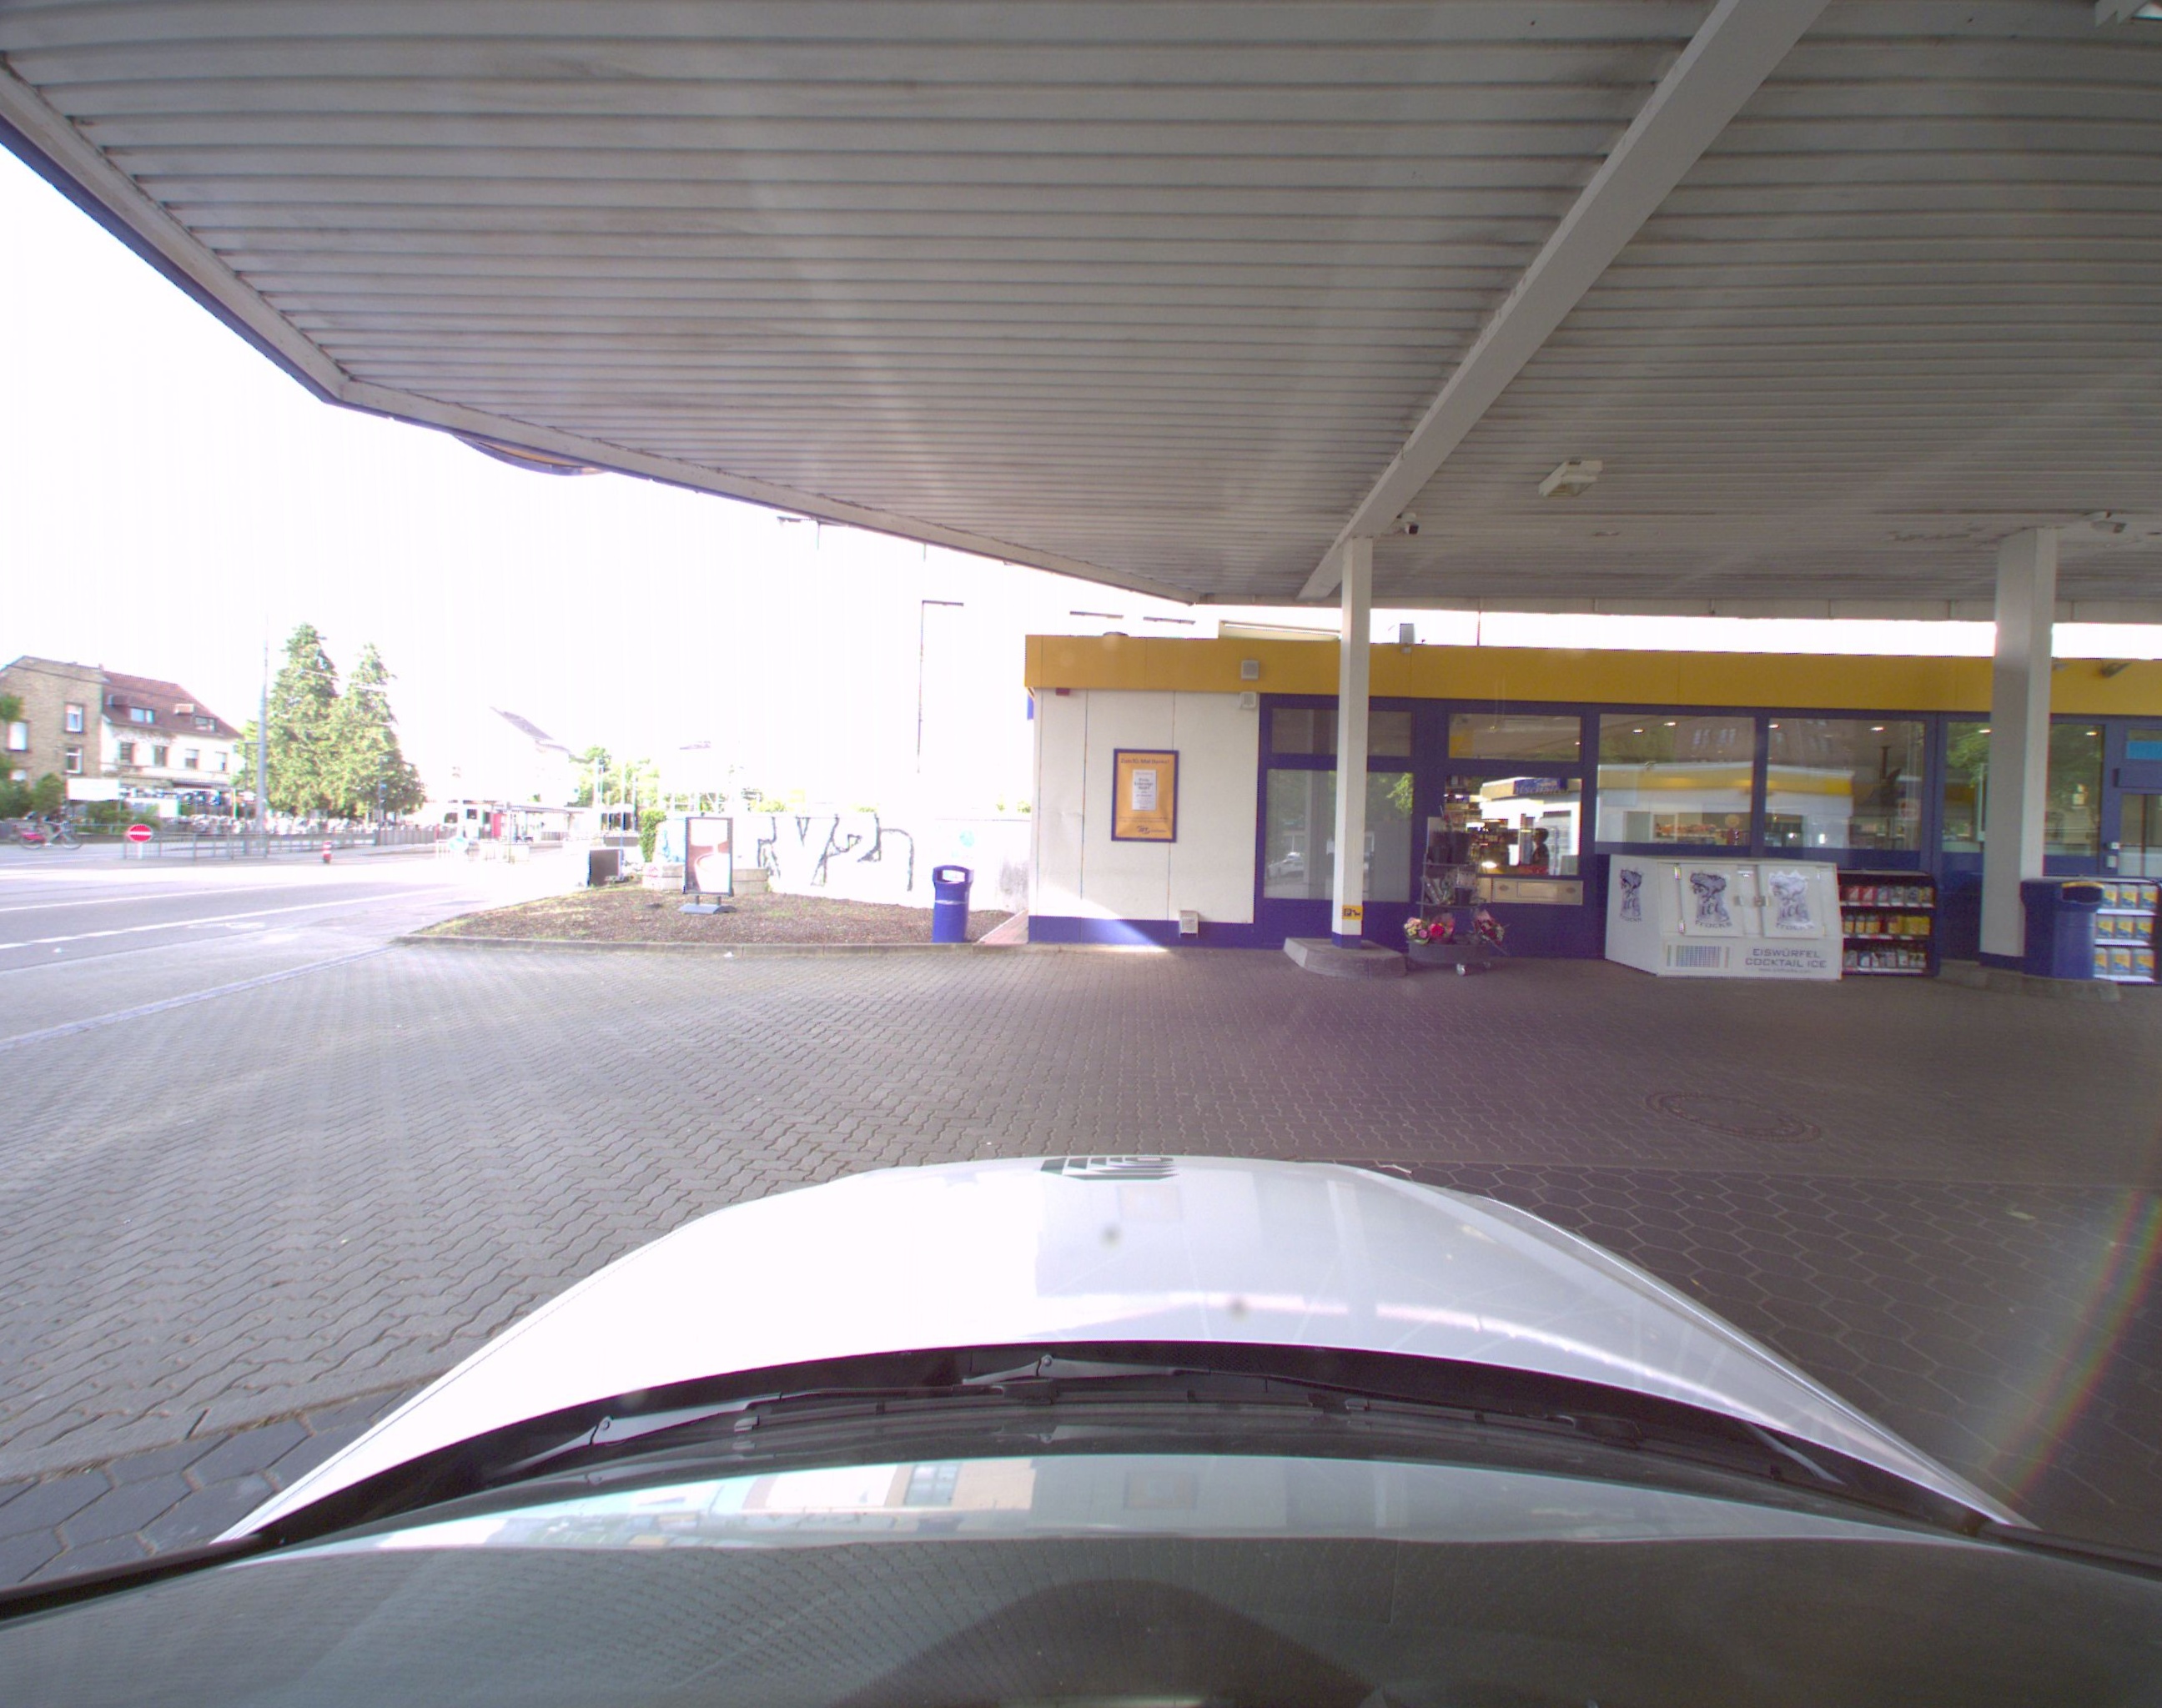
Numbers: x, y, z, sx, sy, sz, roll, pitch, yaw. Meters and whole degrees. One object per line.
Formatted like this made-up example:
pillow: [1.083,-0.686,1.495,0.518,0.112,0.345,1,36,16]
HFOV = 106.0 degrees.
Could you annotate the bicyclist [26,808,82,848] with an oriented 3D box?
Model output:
bicyclist: [-41.213,-1.028,32.691,0.781,1.492,1.099,4,0,11]

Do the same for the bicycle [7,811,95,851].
bicycle: [-41.230,-0.895,32.641,0.781,1.492,1.998,4,0,12]
